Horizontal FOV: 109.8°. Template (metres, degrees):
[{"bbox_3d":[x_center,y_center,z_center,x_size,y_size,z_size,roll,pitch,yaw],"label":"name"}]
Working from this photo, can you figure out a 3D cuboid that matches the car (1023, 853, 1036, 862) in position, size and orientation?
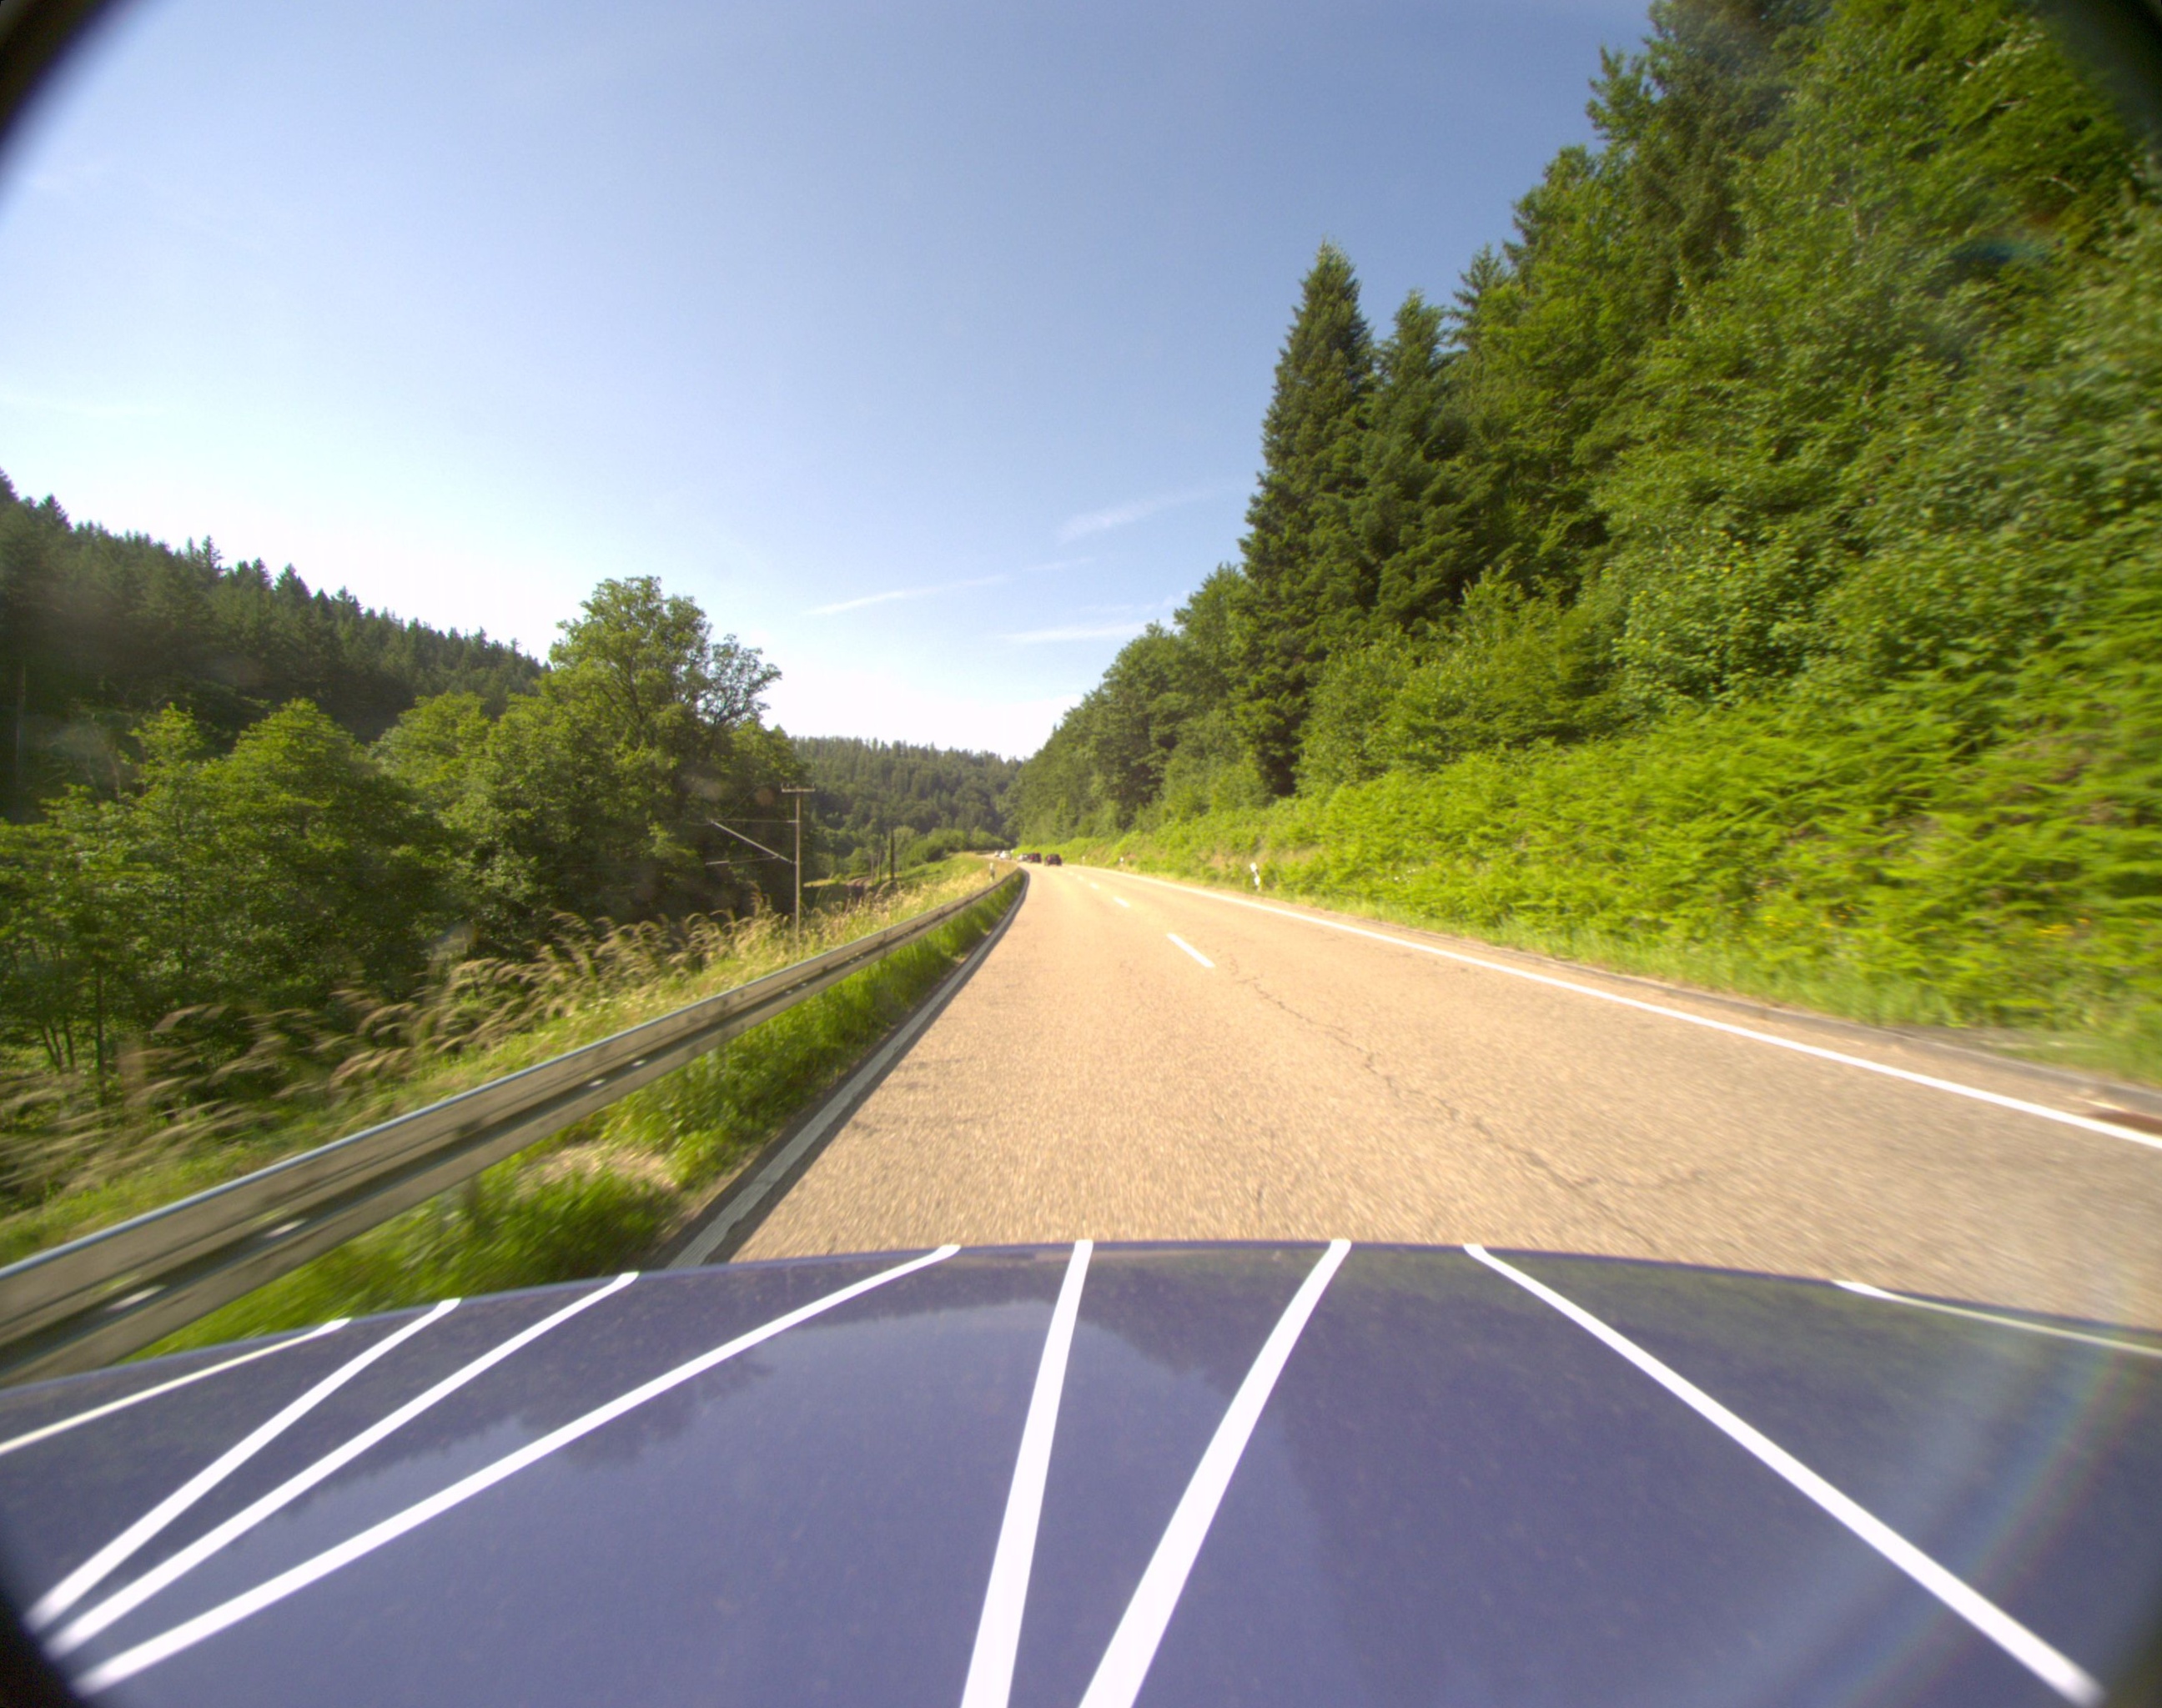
[{"bbox_3d":[-8.527,0.604,126.545,1.839,1.422,4.674,0,0,-8],"label":"car"}]

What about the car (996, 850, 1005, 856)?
[{"bbox_3d":[-19.634,-0.252,185.173,1.874,1.614,4.469,-1,0,-10],"label":"car"}]

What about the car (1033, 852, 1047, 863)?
[{"bbox_3d":[-6.133,0.520,112.701,1.838,1.619,4.349,-1,0,-7],"label":"car"}]

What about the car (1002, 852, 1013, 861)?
[{"bbox_3d":[-14.776,0.476,152.713,2.000,1.673,4.902,-1,0,-9],"label":"car"}]

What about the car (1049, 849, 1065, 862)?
[{"bbox_3d":[-2.935,0.216,92.330,1.863,1.520,3.998,0,1,-4],"label":"car"}]
